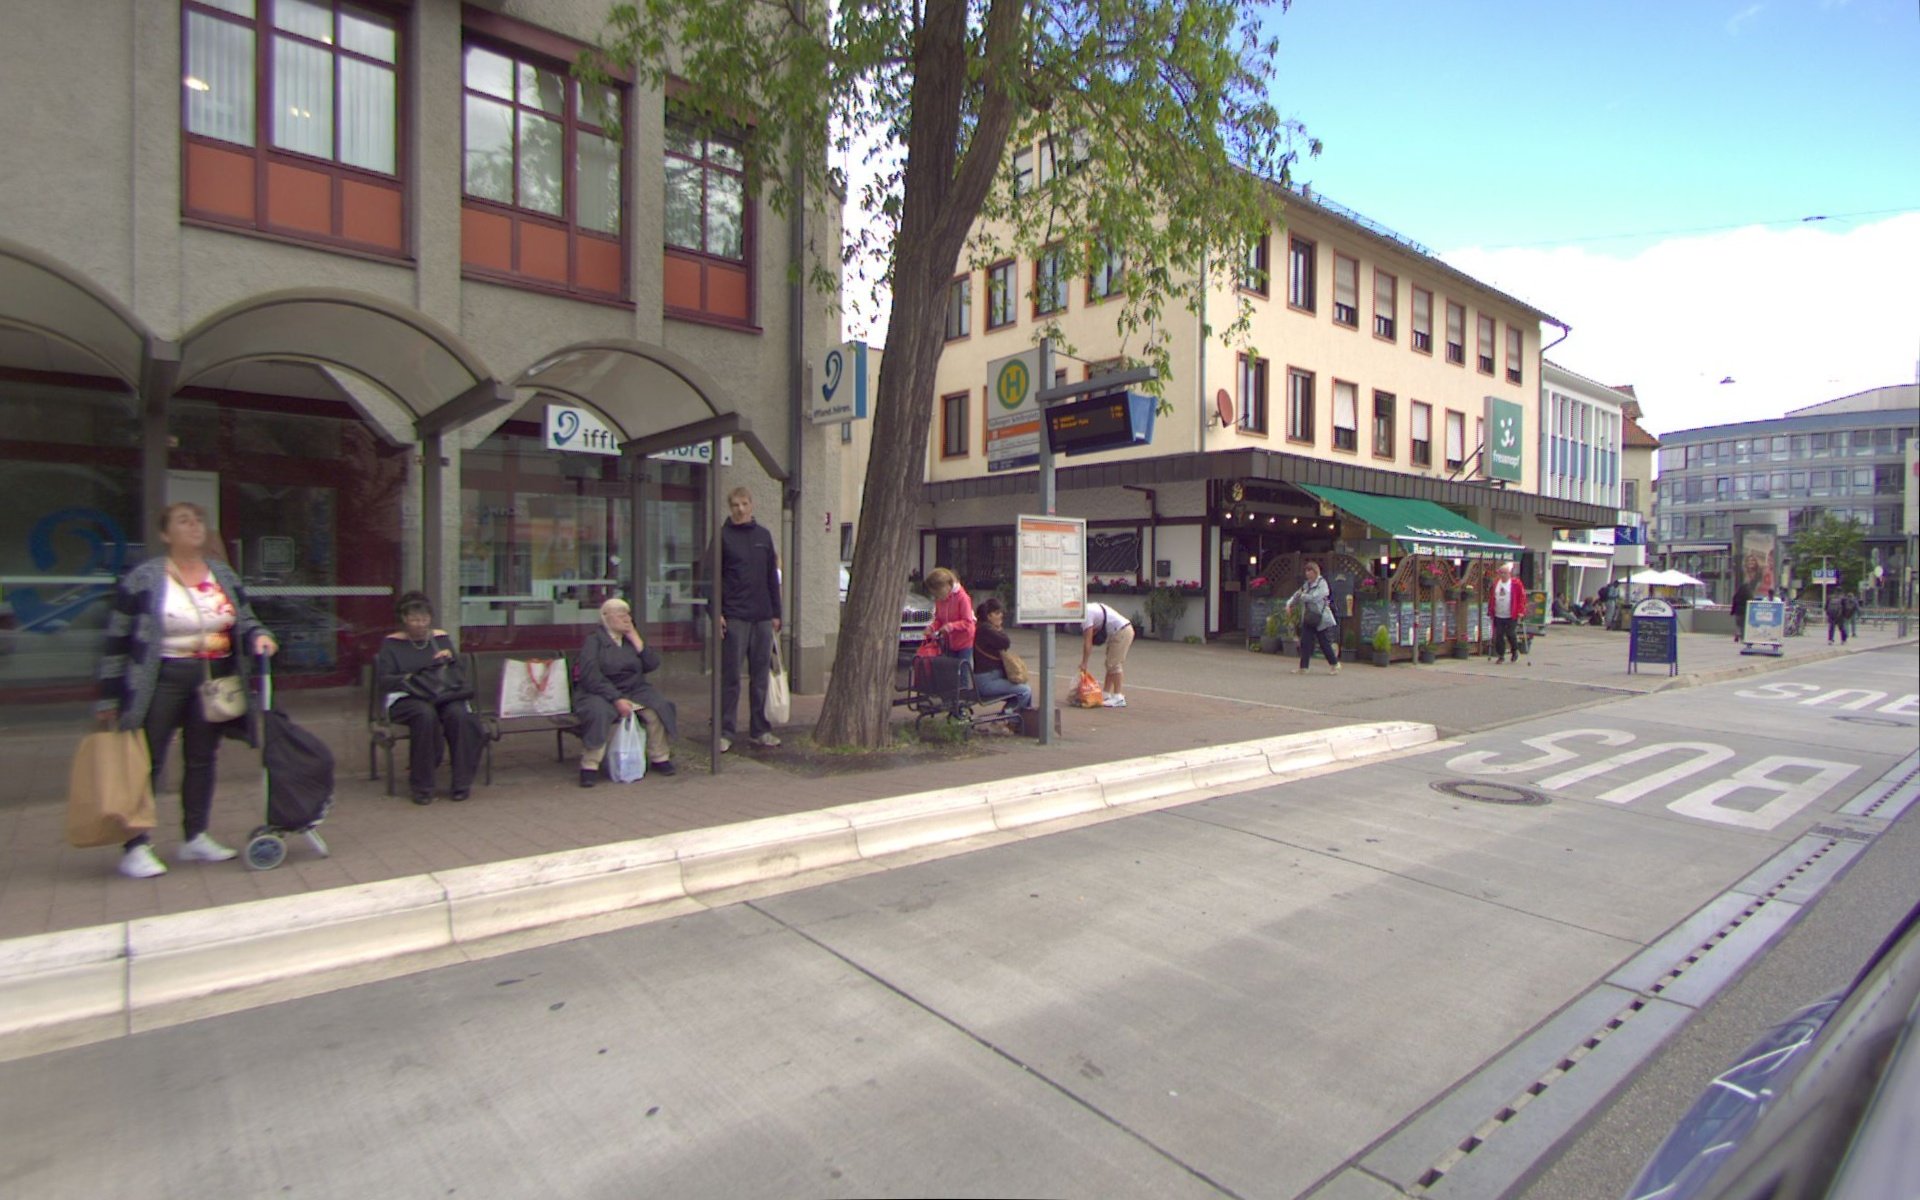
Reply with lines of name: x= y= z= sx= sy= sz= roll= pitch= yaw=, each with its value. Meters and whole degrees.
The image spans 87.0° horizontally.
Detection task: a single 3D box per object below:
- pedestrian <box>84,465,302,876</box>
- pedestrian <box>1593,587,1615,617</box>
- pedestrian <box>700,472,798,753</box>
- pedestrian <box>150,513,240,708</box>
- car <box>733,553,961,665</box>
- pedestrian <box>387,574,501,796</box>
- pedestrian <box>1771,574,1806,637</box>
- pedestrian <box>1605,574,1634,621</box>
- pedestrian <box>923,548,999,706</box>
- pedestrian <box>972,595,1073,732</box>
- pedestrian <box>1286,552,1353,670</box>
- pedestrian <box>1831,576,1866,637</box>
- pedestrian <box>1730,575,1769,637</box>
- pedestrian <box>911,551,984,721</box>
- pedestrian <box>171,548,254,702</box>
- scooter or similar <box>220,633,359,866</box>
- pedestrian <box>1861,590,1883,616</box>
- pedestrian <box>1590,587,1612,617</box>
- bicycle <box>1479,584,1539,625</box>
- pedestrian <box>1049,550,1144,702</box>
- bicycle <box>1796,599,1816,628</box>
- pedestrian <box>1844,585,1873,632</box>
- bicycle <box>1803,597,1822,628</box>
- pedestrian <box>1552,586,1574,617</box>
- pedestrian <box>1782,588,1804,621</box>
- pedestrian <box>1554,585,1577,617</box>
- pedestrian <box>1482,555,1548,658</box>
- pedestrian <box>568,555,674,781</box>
pedestrian: x=-3.366 y=0.292 z=4.468 sx=0.530 sy=1.656 sz=0.583 roll=-2 pitch=-2 yaw=25
pedestrian: x=27.104 y=0.083 z=42.566 sx=0.578 sy=1.236 sz=0.613 roll=1 pitch=-3 yaw=-43
pedestrian: x=-1.649 y=0.083 z=7.860 sx=0.576 sy=2.072 sz=0.616 roll=0 pitch=2 yaw=-27
pedestrian: x=-6.802 y=0.087 z=8.992 sx=0.604 sy=1.655 sz=0.587 roll=1 pitch=0 yaw=-39
car: x=-2.073 y=0.101 z=17.236 sx=1.845 sy=1.640 sz=4.618 roll=0 pitch=1 yaw=-36
pedestrian: x=-3.197 y=0.482 z=6.247 sx=0.576 sy=1.247 sz=0.703 roll=0 pitch=3 yaw=-31
pedestrian: x=22.162 y=0.126 z=27.078 sx=0.605 sy=1.654 sz=0.613 roll=-1 pitch=2 yaw=-43
pedestrian: x=23.292 y=-0.090 z=35.727 sx=0.787 sy=1.655 sz=0.667 roll=1 pitch=0 yaw=-43
pedestrian: x=0.008 y=0.281 z=10.986 sx=0.577 sy=1.655 sz=0.615 roll=0 pitch=0 yaw=-36
pedestrian: x=0.568 y=0.551 z=9.187 sx=0.711 sy=1.181 sz=0.579 roll=0 pitch=-1 yaw=43
pedestrian: x=5.592 y=0.144 z=15.745 sx=0.682 sy=1.763 sz=0.770 roll=4 pitch=4 yaw=44
pedestrian: x=25.388 y=0.184 z=28.909 sx=0.604 sy=1.699 sz=0.613 roll=1 pitch=1 yaw=-38
pedestrian: x=21.626 y=0.149 z=27.709 sx=0.605 sy=1.654 sz=0.719 roll=-1 pitch=2 yaw=-43
pedestrian: x=-0.131 y=0.342 z=9.814 sx=0.481 sy=1.587 sz=0.675 roll=2 pitch=-2 yaw=-20
pedestrian: x=-7.055 y=0.223 z=9.554 sx=0.604 sy=1.393 sz=0.587 roll=1 pitch=0 yaw=-38
scooter or similar: x=-3.005 y=0.647 z=4.549 sx=0.379 sy=0.971 sz=0.354 roll=1 pitch=1 yaw=11
pedestrian: x=60.730 y=0.214 z=67.378 sx=0.834 sy=1.656 sz=0.641 roll=-2 pitch=-2 yaw=16
pedestrian: x=26.670 y=0.084 z=42.121 sx=0.578 sy=1.235 sz=0.614 roll=1 pitch=1 yaw=-43
bicycle: x=15.426 y=0.111 z=28.424 sx=2.311 sy=1.075 sz=0.742 roll=0 pitch=2 yaw=-43
pedestrian: x=1.552 y=0.277 z=11.561 sx=0.778 sy=1.654 sz=0.616 roll=1 pitch=3 yaw=-29
bicycle: x=29.543 y=0.469 z=35.340 sx=1.362 sy=0.986 sz=0.274 roll=0 pitch=1 yaw=-40
pedestrian: x=32.772 y=0.304 z=36.920 sx=0.838 sy=1.655 sz=0.689 roll=1 pitch=0 yaw=-41
bicycle: x=30.620 y=0.448 z=36.339 sx=1.362 sy=1.066 sz=0.274 roll=0 pitch=1 yaw=-40
pedestrian: x=24.597 y=0.059 z=41.292 sx=0.578 sy=1.235 sz=0.614 roll=1 pitch=0 yaw=-43
pedestrian: x=42.249 y=0.226 z=51.329 sx=0.580 sy=1.643 sz=0.740 roll=-2 pitch=-2 yaw=18
pedestrian: x=24.287 y=0.040 z=40.585 sx=0.578 sy=1.236 sz=0.613 roll=1 pitch=-3 yaw=-43
pedestrian: x=9.891 y=0.088 z=18.042 sx=0.795 sy=1.763 sz=0.770 roll=4 pitch=4 yaw=44
pedestrian: x=-2.282 y=0.419 z=6.783 sx=0.576 sy=1.418 sz=0.616 roll=0 pitch=2 yaw=-27
